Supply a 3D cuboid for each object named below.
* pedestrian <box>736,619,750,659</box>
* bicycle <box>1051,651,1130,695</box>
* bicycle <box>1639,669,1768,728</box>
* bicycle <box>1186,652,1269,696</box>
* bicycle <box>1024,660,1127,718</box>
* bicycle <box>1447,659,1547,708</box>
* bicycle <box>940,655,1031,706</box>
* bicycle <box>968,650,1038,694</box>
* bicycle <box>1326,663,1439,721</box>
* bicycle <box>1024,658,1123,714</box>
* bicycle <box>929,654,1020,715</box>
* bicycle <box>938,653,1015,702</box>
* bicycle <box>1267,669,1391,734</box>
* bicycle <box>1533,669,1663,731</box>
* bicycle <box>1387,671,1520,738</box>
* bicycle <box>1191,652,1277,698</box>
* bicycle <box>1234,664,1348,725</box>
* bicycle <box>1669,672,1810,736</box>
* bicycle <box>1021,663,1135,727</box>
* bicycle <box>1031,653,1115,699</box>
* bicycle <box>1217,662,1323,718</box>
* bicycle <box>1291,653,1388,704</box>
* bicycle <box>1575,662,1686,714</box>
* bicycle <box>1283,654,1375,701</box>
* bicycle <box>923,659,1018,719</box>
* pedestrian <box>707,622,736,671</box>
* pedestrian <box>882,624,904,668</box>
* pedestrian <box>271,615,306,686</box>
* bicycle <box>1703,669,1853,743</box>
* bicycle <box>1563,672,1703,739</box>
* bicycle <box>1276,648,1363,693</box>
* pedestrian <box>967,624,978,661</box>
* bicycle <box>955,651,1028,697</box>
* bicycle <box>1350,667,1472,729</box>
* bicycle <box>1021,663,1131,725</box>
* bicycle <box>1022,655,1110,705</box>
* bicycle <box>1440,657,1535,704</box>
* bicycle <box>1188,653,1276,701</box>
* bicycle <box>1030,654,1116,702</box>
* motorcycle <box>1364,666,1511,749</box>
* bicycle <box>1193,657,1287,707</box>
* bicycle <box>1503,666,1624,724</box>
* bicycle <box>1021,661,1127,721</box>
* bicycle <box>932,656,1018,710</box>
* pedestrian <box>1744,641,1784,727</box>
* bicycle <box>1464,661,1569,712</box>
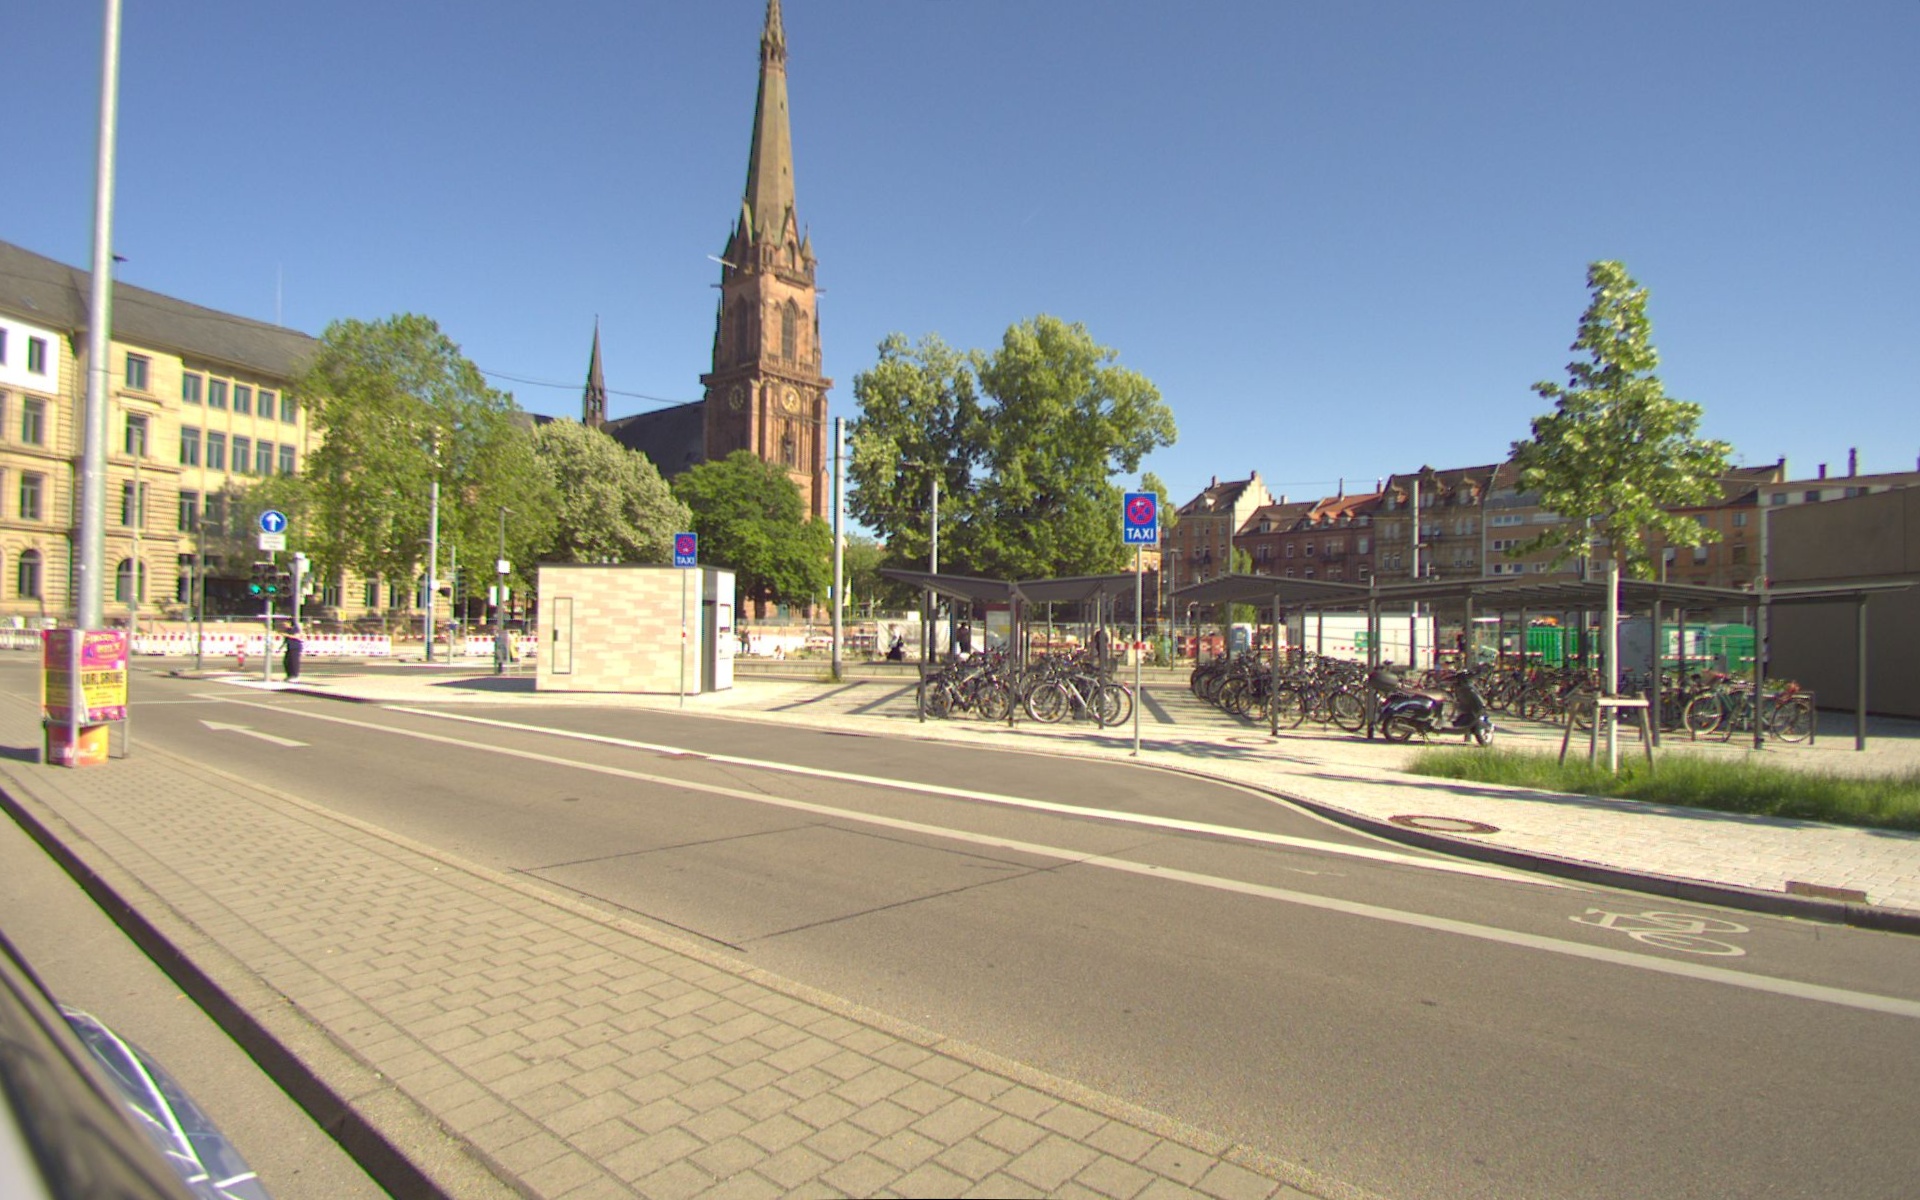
[{"bbox_3d":[-11.798,2.119,55.062,0.545,2.171,0.568,0,-2,15],"label":"pedestrian"},{"bbox_3d":[3.158,1.776,24.600,1.882,1.016,0.456,0,-2,8],"label":"bicycle"},{"bbox_3d":[13.465,1.776,18.365,1.882,1.016,0.456,0,-2,8],"label":"bicycle"},{"bbox_3d":[6.390,1.762,24.226,1.882,1.016,0.456,0,-2,8],"label":"bicycle"},{"bbox_3d":[2.133,1.645,18.744,1.882,1.016,0.456,0,-2,8],"label":"bicycle"},{"bbox_3d":[11.780,1.824,22.244,1.882,1.016,0.456,0,-2,8],"label":"bicycle"},{"bbox_3d":[0.539,1.675,21.227,1.882,1.016,0.456,0,-2,8],"label":"bicycle"},{"bbox_3d":[1.038,1.715,24.227,1.652,1.016,0.456,0,-2,8],"label":"bicycle"},{"bbox_3d":[7.914,1.712,18.997,1.882,1.016,0.456,0,-2,8],"label":"bicycle"},{"bbox_3d":[2.193,1.659,19.585,1.882,1.016,0.456,0,-2,8],"label":"bicycle"},{"bbox_3d":[0.276,1.559,18.777,1.652,1.069,0.456,0,-2,8],"label":"bicycle"},{"bbox_3d":[0.368,1.690,22.225,1.652,1.016,0.456,0,-2,8],"label":"bicycle"},{"bbox_3d":[6.118,1.682,16.840,1.882,1.016,0.456,0,-2,8],"label":"bicycle"},{"bbox_3d":[11.097,1.732,17.643,1.882,1.016,0.456,0,-2,8],"label":"bicycle"},{"bbox_3d":[8.025,1.691,16.494,1.882,1.016,0.456,0,-2,8],"label":"bicycle"},{"bbox_3d":[6.362,1.731,23.568,1.882,1.016,0.456,0,-2,8],"label":"bicycle"},{"bbox_3d":[5.896,1.683,18.093,1.882,1.016,0.456,0,-2,8],"label":"bicycle"},{"bbox_3d":[13.125,1.742,17.066,1.882,1.016,0.456,0,-2,8],"label":"bicycle"},{"bbox_3d":[1.986,1.602,17.115,1.882,1.016,0.456,0,-2,8],"label":"bicycle"},{"bbox_3d":[2.602,1.747,23.304,1.882,1.016,0.456,0,-2,8],"label":"bicycle"},{"bbox_3d":[5.894,1.708,19.324,1.882,1.016,0.456,0,-2,8],"label":"bicycle"},{"bbox_3d":[8.053,1.660,21.520,1.882,1.016,0.456,0,-2,8],"label":"bicycle"},{"bbox_3d":[13.870,1.817,20.972,1.882,1.016,0.456,0,-2,8],"label":"bicycle"},{"bbox_3d":[8.312,1.735,22.819,1.882,1.016,0.456,0,-2,8],"label":"bicycle"},{"bbox_3d":[0.197,1.585,18.192,1.652,1.016,0.456,0,-2,8],"label":"bicycle"},{"bbox_3d":[-8.884,1.740,37.740,0.792,1.793,0.977,0,-2,3],"label":"pedestrian"},{"bbox_3d":[-2.767,1.884,41.987,0.792,1.793,0.977,0,-2,3],"label":"pedestrian"},{"bbox_3d":[-18.014,1.341,27.147,0.683,1.868,0.680,2,-2,-37],"label":"pedestrian"},{"bbox_3d":[13.078,1.684,16.207,1.882,1.106,0.456,0,-2,8],"label":"bicycle"},{"bbox_3d":[10.969,1.717,16.538,1.882,1.016,0.456,0,-2,8],"label":"bicycle"},{"bbox_3d":[8.483,1.652,23.911,1.882,1.016,0.456,0,-2,8],"label":"bicycle"},{"bbox_3d":[0.581,1.994,47.617,0.399,1.734,0.419,1,-2,-11],"label":"pedestrian"},{"bbox_3d":[0.742,1.709,23.482,1.652,1.016,0.456,0,-2,8],"label":"bicycle"},{"bbox_3d":[7.891,1.708,17.764,1.882,1.016,0.456,0,-2,8],"label":"bicycle"},{"bbox_3d":[2.015,1.624,17.675,1.882,1.016,0.456,0,-2,8],"label":"bicycle"},{"bbox_3d":[2.293,1.722,21.921,1.882,1.016,0.456,0,-2,8],"label":"bicycle"},{"bbox_3d":[12.075,1.835,23.195,1.882,1.016,0.456,0,-2,8],"label":"bicycle"},{"bbox_3d":[6.145,1.738,22.944,1.882,1.016,0.456,0,-2,8],"label":"bicycle"},{"bbox_3d":[2.507,1.726,22.535,1.882,1.016,0.456,0,-2,8],"label":"bicycle"},{"bbox_3d":[7.158,1.602,15.226,1.924,1.160,0.516,0,-2,6],"label":"motorcycle"},{"bbox_3d":[5.961,1.746,21.610,1.882,1.016,0.456,0,-2,8],"label":"bicycle"},{"bbox_3d":[11.160,1.755,18.758,1.882,1.016,0.456,0,-2,8],"label":"bicycle"},{"bbox_3d":[2.051,1.633,18.262,1.882,1.016,0.456,0,-2,8],"label":"bicycle"},{"bbox_3d":[0.301,1.624,19.889,1.652,1.016,0.456,0,-2,8],"label":"bicycle"},{"bbox_3d":[19.642,2.028,24.721,0.718,2.029,0.678,-1,-2,41],"label":"pedestrian"},{"bbox_3d":[11.710,1.814,21.314,1.882,1.016,0.456,0,-2,8],"label":"bicycle"}]
